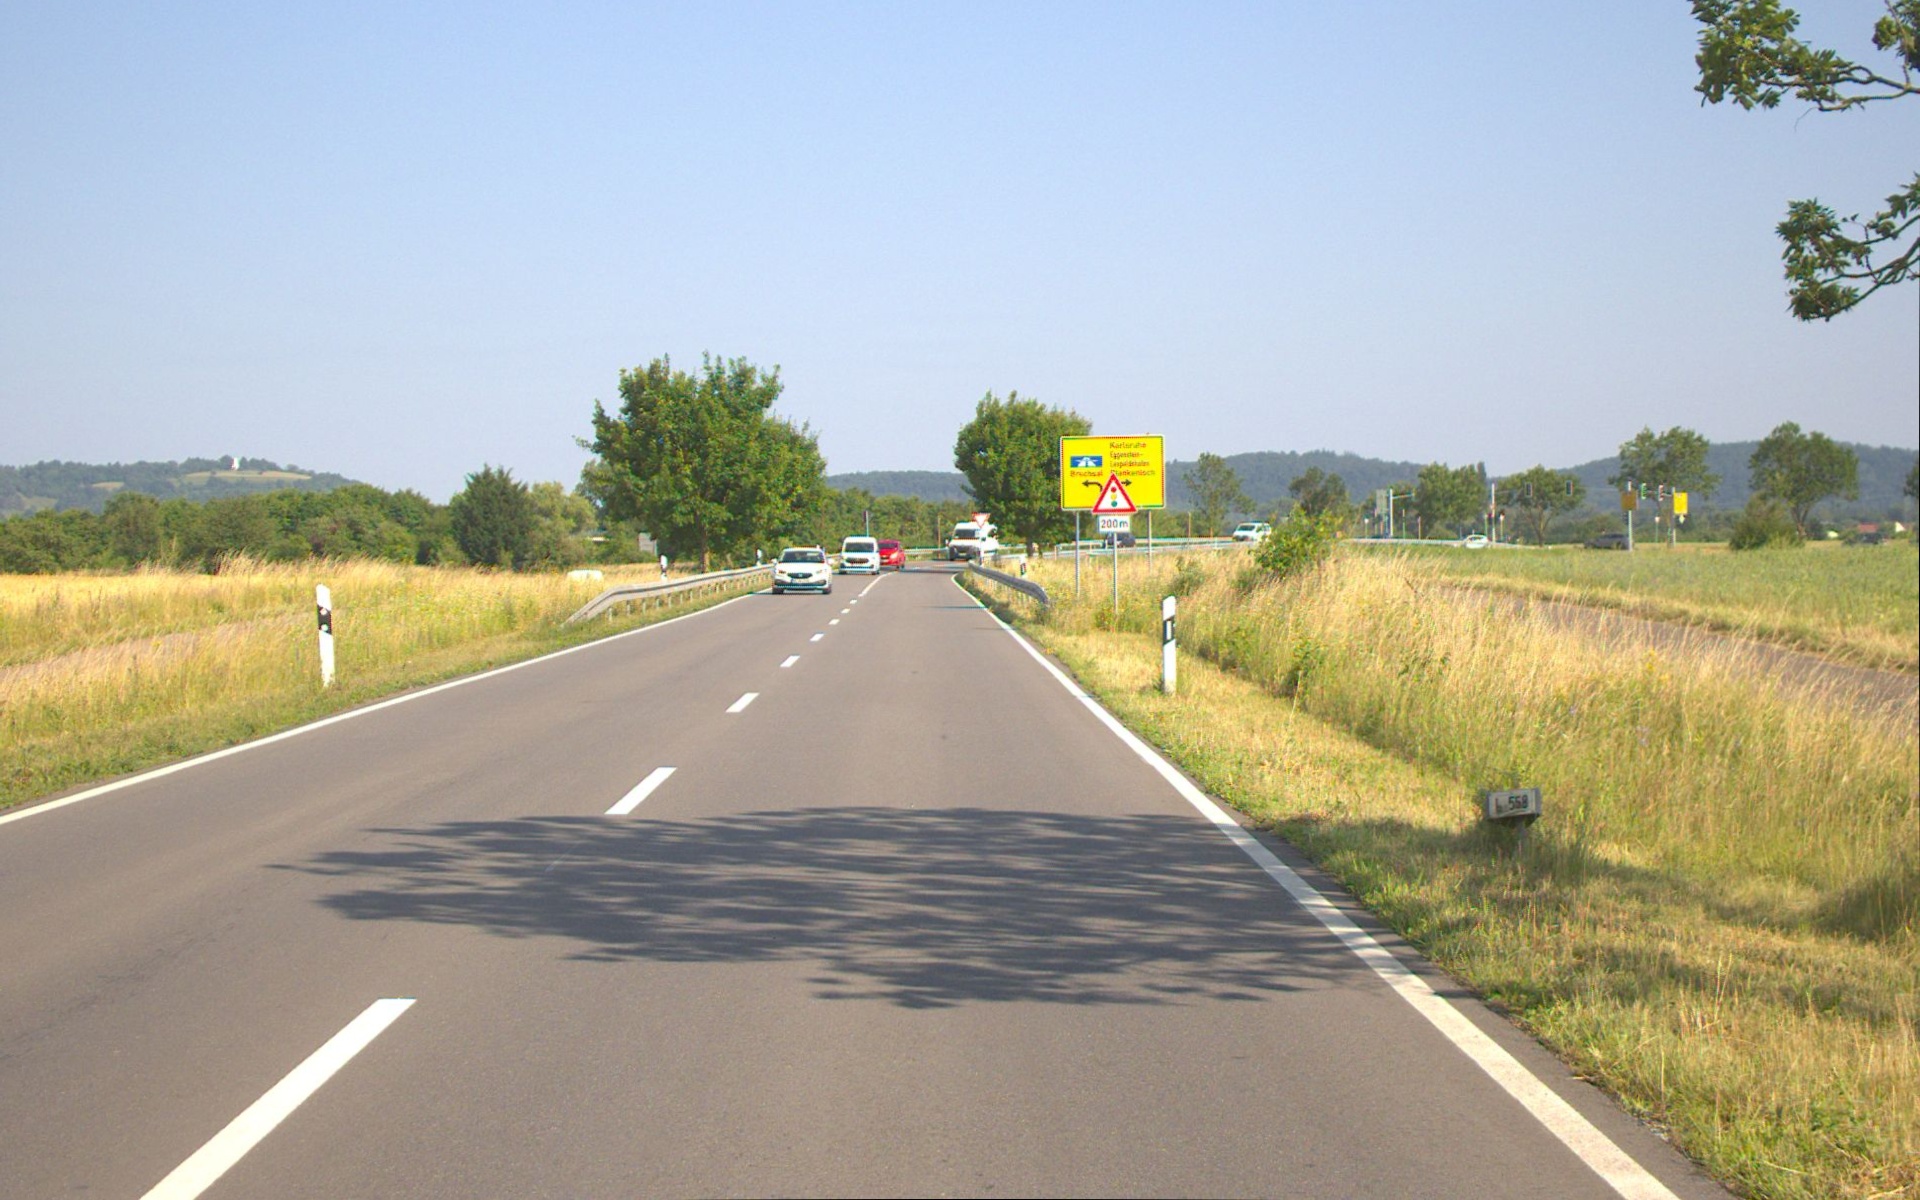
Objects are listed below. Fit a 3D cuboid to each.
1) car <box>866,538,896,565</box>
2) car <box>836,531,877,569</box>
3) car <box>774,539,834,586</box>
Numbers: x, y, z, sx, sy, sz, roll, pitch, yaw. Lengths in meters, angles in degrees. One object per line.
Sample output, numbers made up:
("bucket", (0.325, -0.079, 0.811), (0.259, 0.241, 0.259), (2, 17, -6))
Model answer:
("car", (-4.321, -2.647, 187.831), (1.606, 1.483, 3.780), (0, 1, -1))
("car", (-4.976, -2.411, 165.493), (1.836, 1.780, 4.435), (0, 1, 0))
("car", (-4.863, -1.178, 107.525), (1.726, 1.432, 4.517), (0, 1, -1))
